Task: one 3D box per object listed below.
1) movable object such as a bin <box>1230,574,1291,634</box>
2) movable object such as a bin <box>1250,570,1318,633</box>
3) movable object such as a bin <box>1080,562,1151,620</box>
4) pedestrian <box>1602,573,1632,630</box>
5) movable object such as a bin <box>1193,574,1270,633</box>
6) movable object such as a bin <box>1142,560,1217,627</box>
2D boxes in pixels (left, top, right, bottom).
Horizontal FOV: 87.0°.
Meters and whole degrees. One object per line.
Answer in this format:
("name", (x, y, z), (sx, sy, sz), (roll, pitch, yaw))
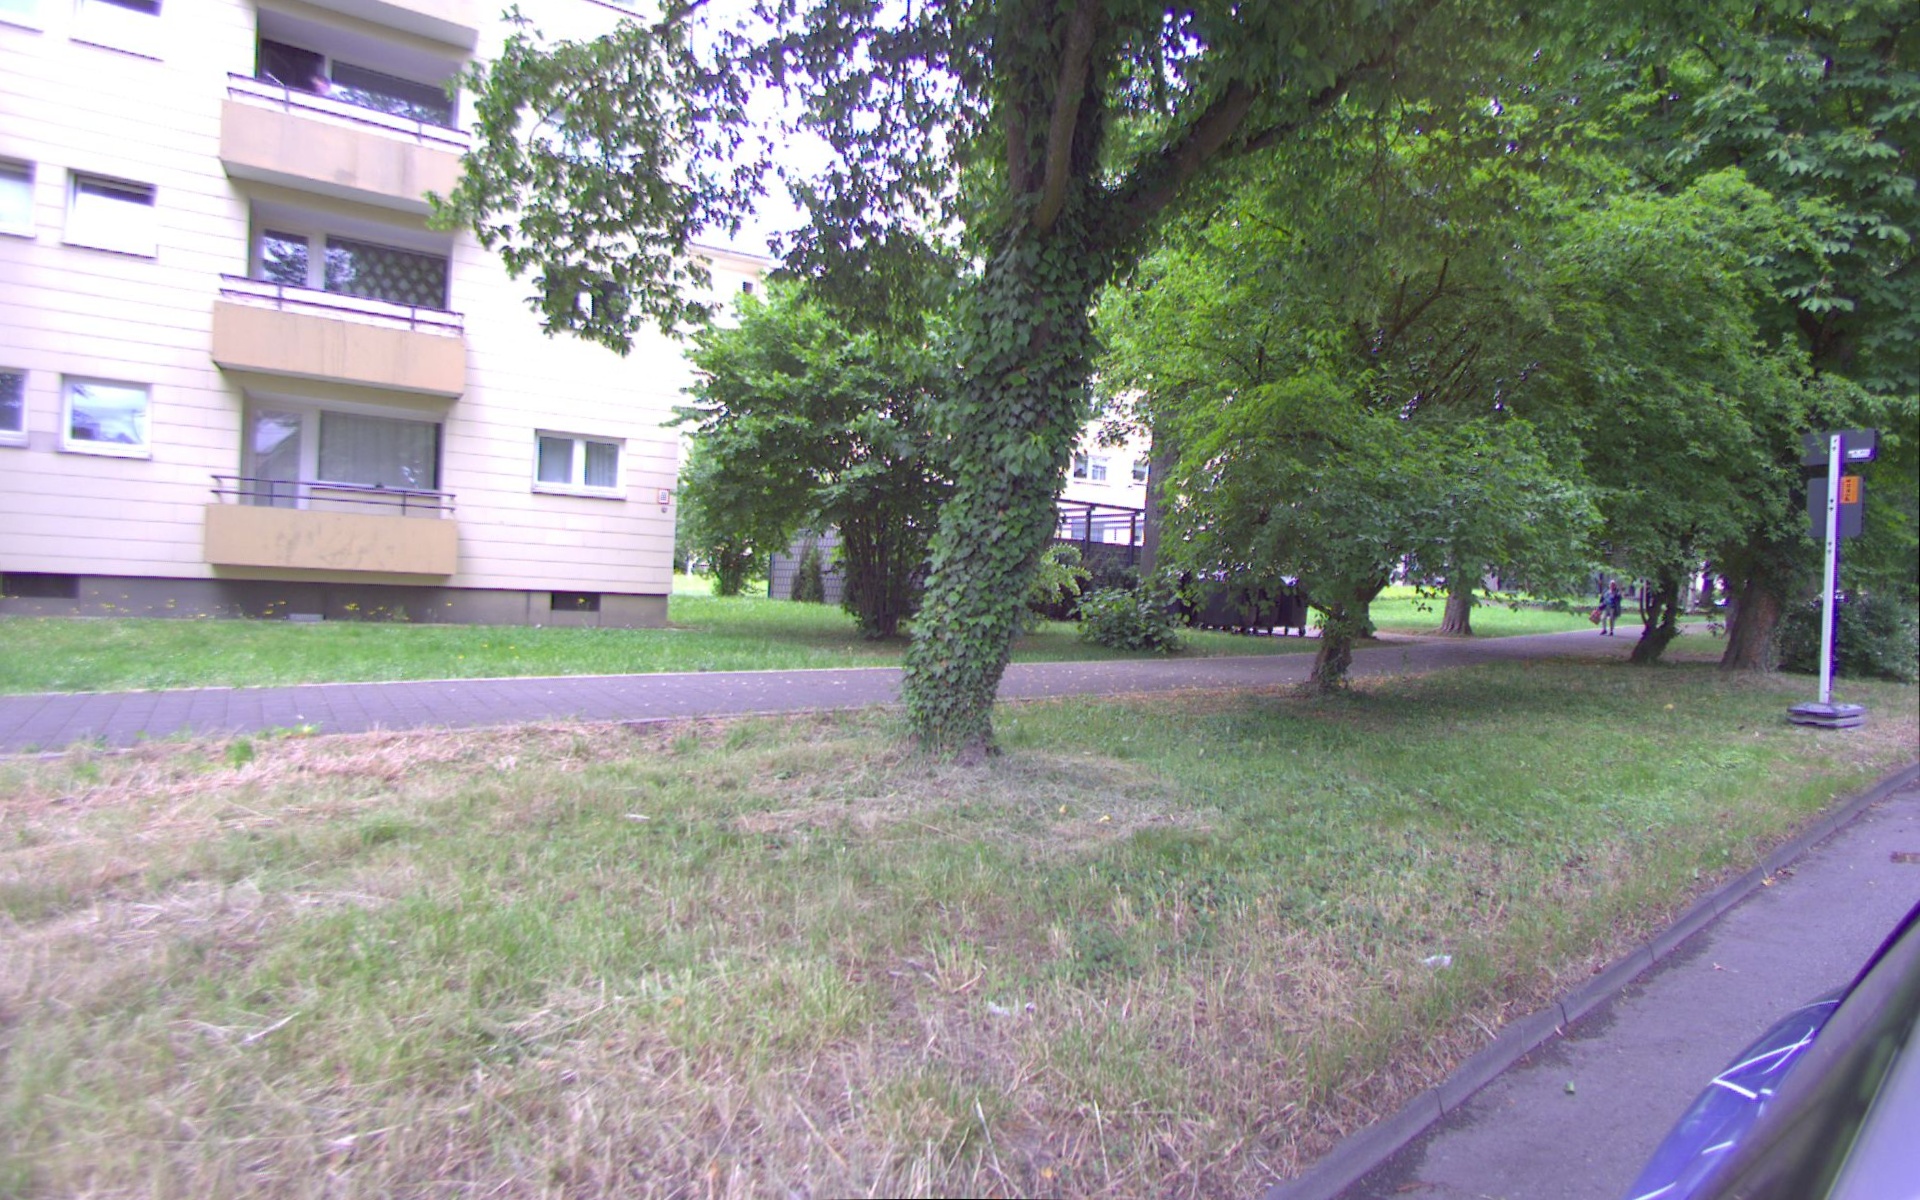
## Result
("movable object such as a bin", (7.018, 0.076, 23.629), (1.022, 1.320, 0.946), (3, 2, 40))
("movable object such as a bin", (7.810, 0.013, 24.357), (1.190, 1.431, 1.095), (3, 2, 40))
("movable object such as a bin", (3.860, -0.240, 25.155), (1.190, 1.358, 1.329), (3, 2, 40))
("pedestrian", (20.774, 0.049, 31.992), (0.560, 1.761, 0.565), (1, 3, -42))
("movable object such as a bin", (6.141, 0.059, 22.843), (1.190, 1.235, 1.329), (3, 2, 40))
("movable object such as a bin", (5.141, -0.166, 23.699), (1.190, 1.474, 1.329), (3, 2, 40))
